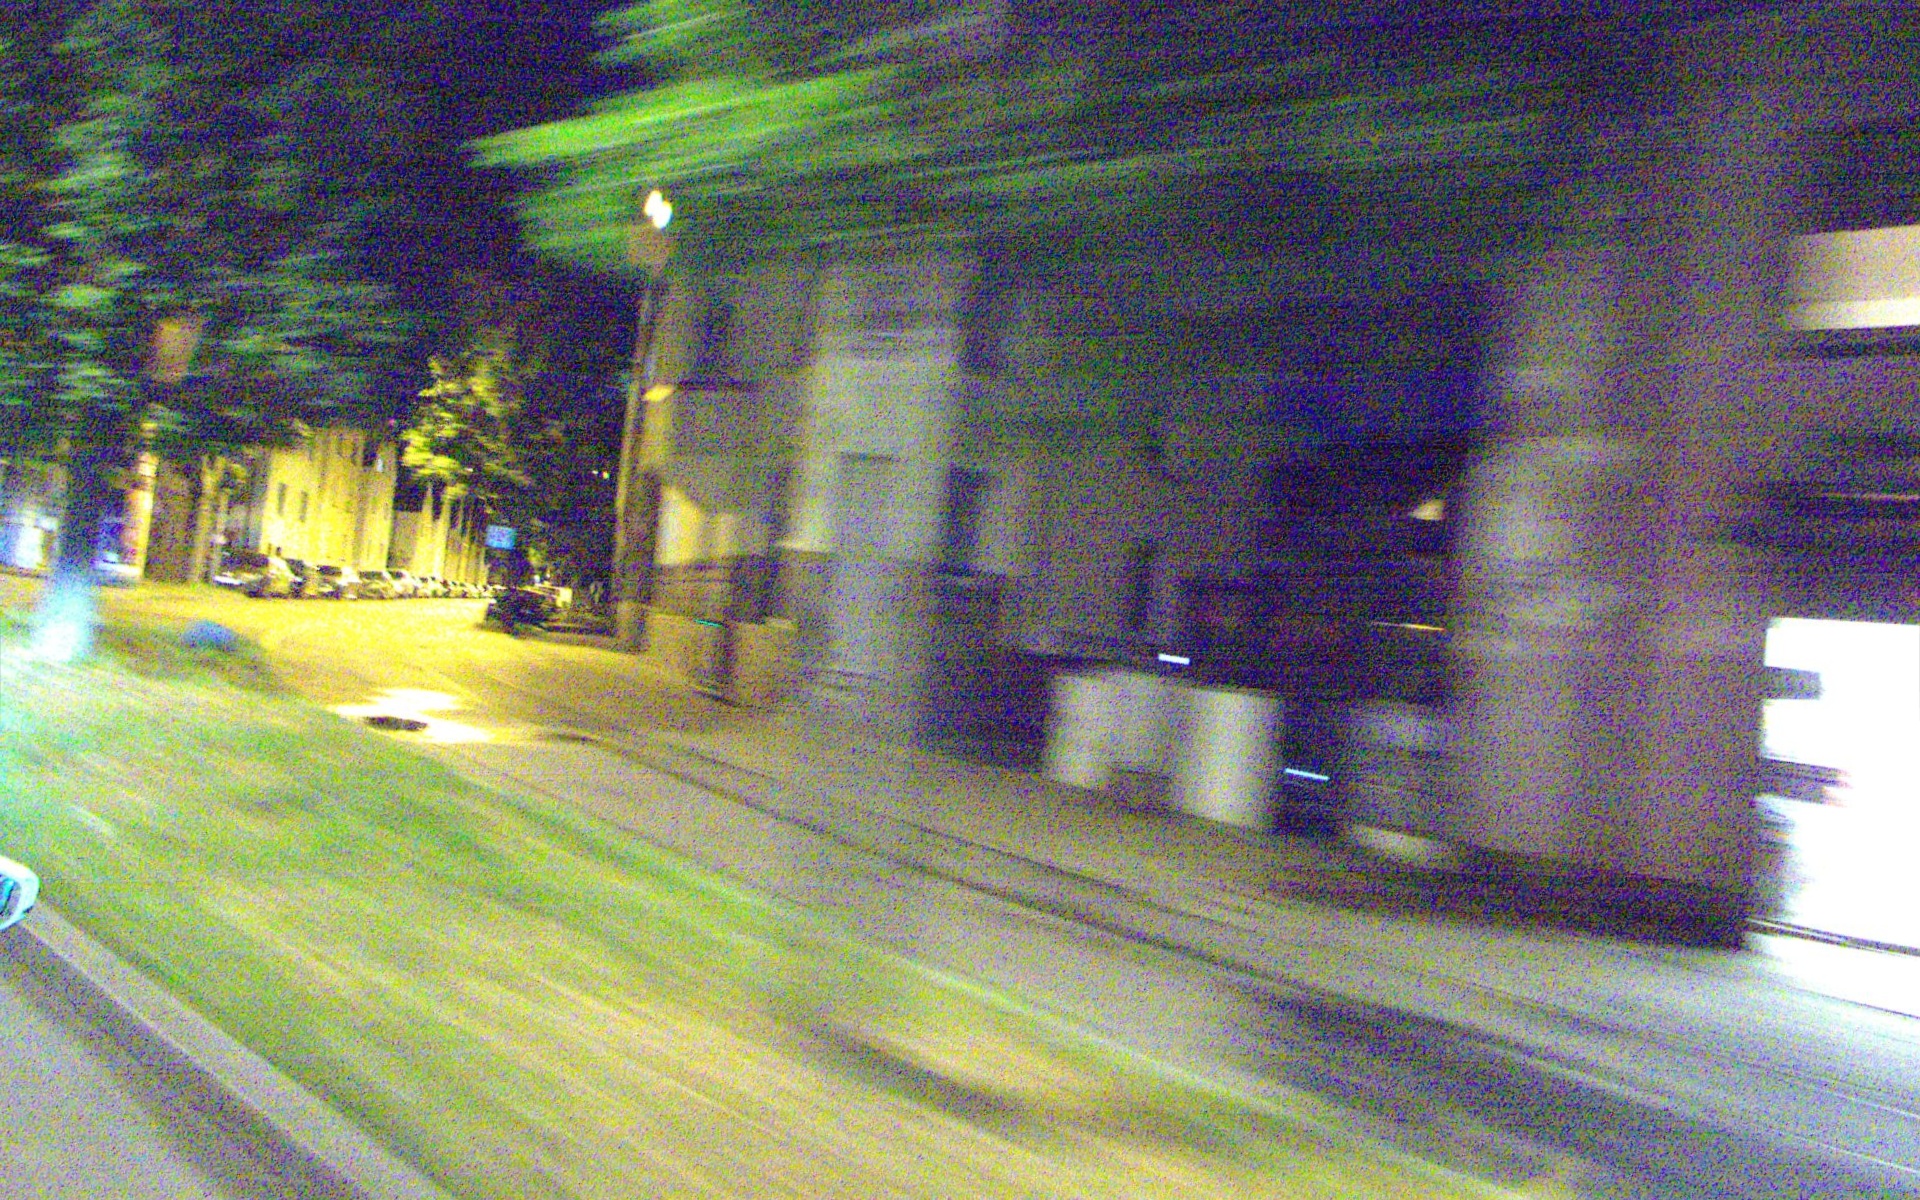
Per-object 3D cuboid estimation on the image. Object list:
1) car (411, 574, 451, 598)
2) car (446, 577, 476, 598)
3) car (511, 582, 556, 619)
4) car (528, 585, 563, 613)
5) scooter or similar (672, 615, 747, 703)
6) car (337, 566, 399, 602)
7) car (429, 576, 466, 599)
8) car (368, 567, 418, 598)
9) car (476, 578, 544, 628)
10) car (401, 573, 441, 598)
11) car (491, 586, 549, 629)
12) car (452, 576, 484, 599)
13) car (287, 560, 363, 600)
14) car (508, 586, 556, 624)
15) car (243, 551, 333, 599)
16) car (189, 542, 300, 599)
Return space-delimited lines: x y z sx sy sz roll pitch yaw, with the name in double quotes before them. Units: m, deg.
"car" -39.055 -1.013 74.357 1.749 1.457 3.907 9 -3 -17
"car" -44.913 -1.085 90.627 1.837 1.569 3.984 9 -3 -20
"car" -23.683 0.041 56.019 1.973 1.723 4.014 9 -3 -21
"car" -31.600 -0.092 76.681 1.977 1.822 3.975 9 -3 -26
"scooter or similar" -3.798 0.871 15.149 0.495 1.160 1.652 5 0 -33
"car" -28.784 -0.746 49.032 1.751 1.433 3.904 9 -3 -20
"car" -40.208 -0.952 79.018 1.749 1.457 3.907 9 -3 -17
"car" -32.806 -0.977 58.322 1.751 1.518 3.904 9 -3 -20
"car" -16.022 0.109 35.964 1.778 1.433 3.822 9 -3 -20
"car" -37.237 -0.983 69.540 1.751 1.457 3.904 9 -3 -20
"car" -17.782 0.301 40.808 1.778 1.433 3.822 9 -3 -20
"car" -42.288 -1.074 86.556 1.847 1.636 3.984 9 -3 -20
"car" -26.635 -0.800 42.318 1.751 1.356 3.904 9 -3 -20
"car" -21.756 0.254 51.252 1.777 1.597 3.824 9 -3 -19
"car" -24.817 -0.875 37.292 1.778 1.433 3.822 9 -3 -20
"car" -22.592 -0.886 31.934 1.778 1.433 3.822 9 -3 -20
